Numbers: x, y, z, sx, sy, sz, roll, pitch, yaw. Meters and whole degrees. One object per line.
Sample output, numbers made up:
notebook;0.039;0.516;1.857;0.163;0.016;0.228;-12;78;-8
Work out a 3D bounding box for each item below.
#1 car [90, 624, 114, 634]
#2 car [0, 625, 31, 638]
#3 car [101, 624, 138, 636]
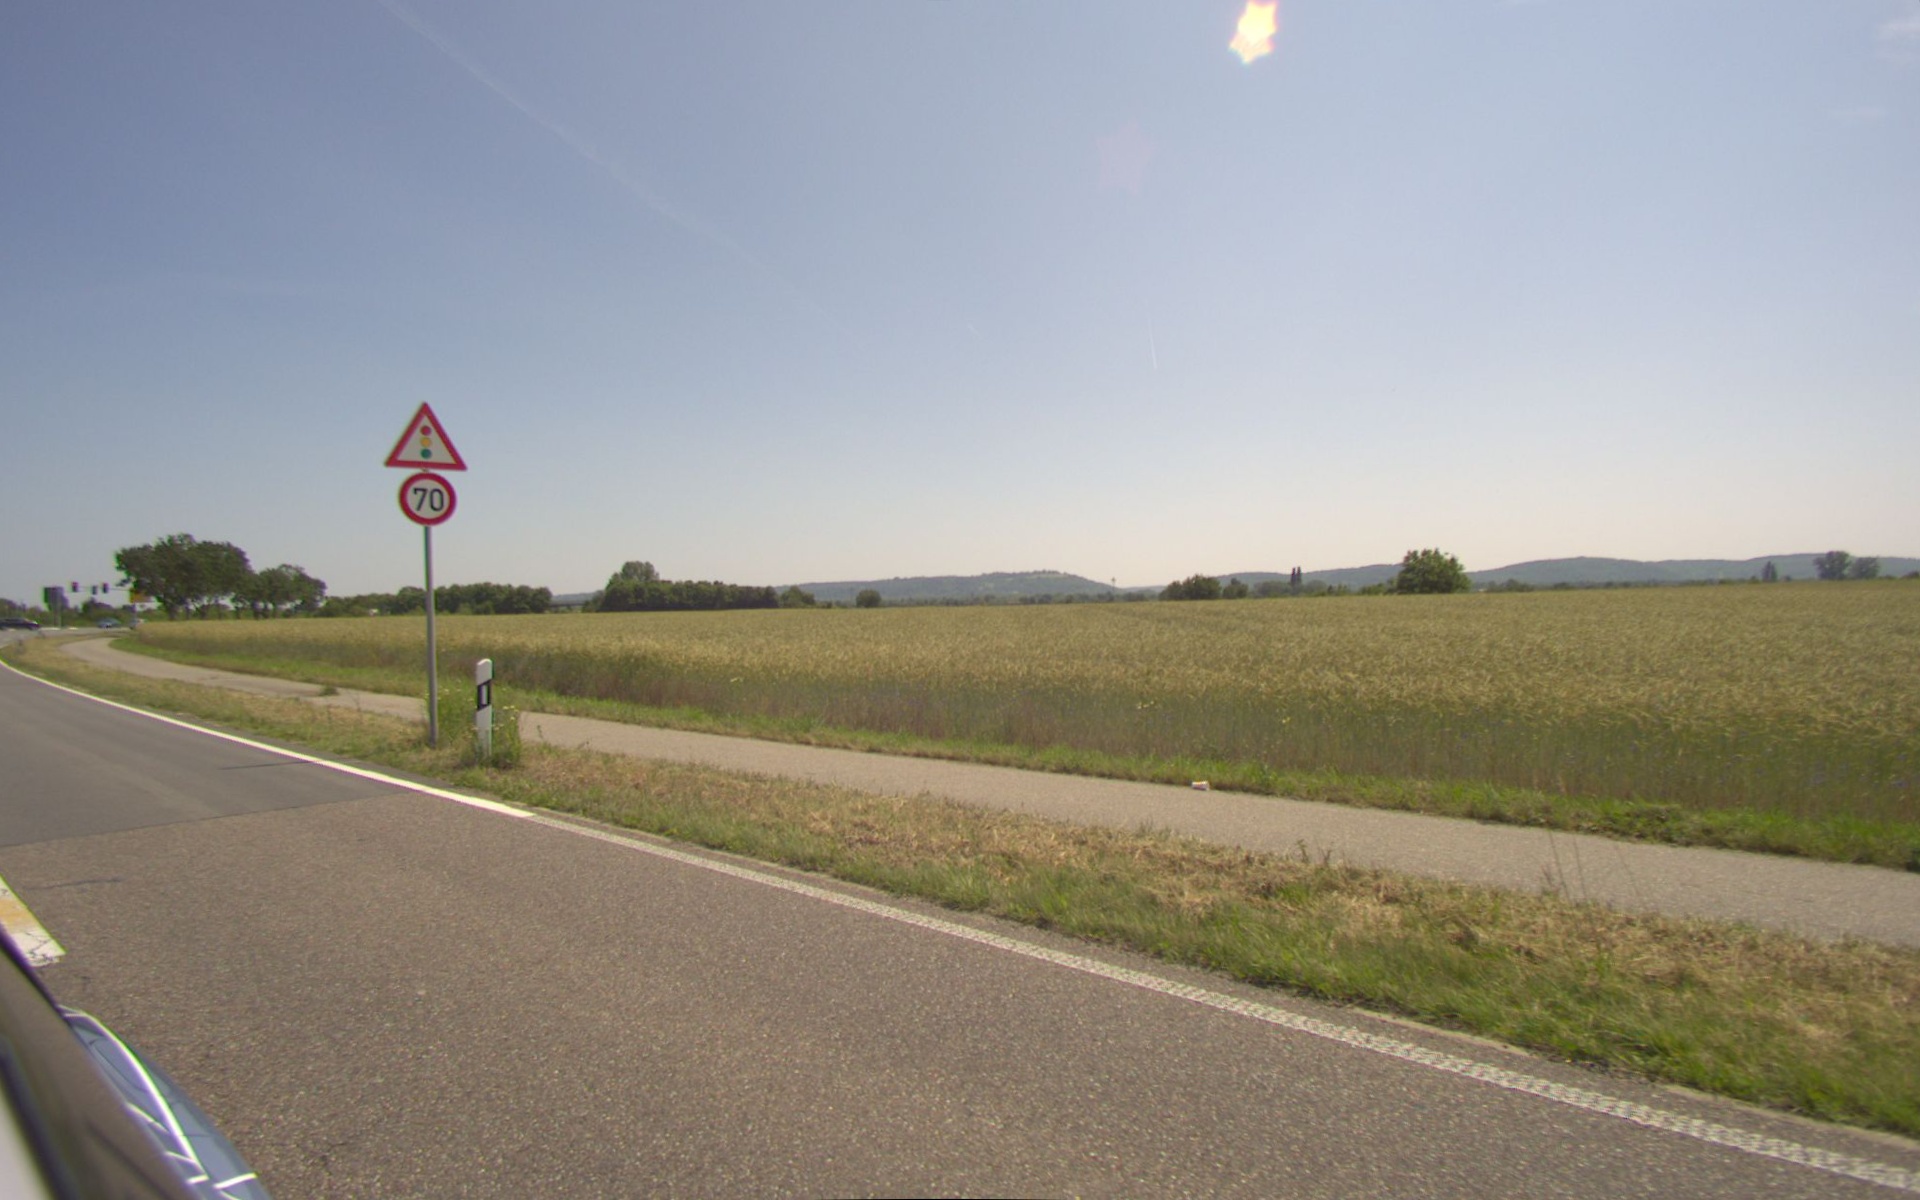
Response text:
car;-130.896;4.400;154.436;1.629;1.578;4.013;0;-2;-22
car;-122.939;4.053;130.486;1.813;1.653;4.466;0;0;40
car;-121.413;4.326;146.224;1.642;1.471;4.140;-1;0;9
